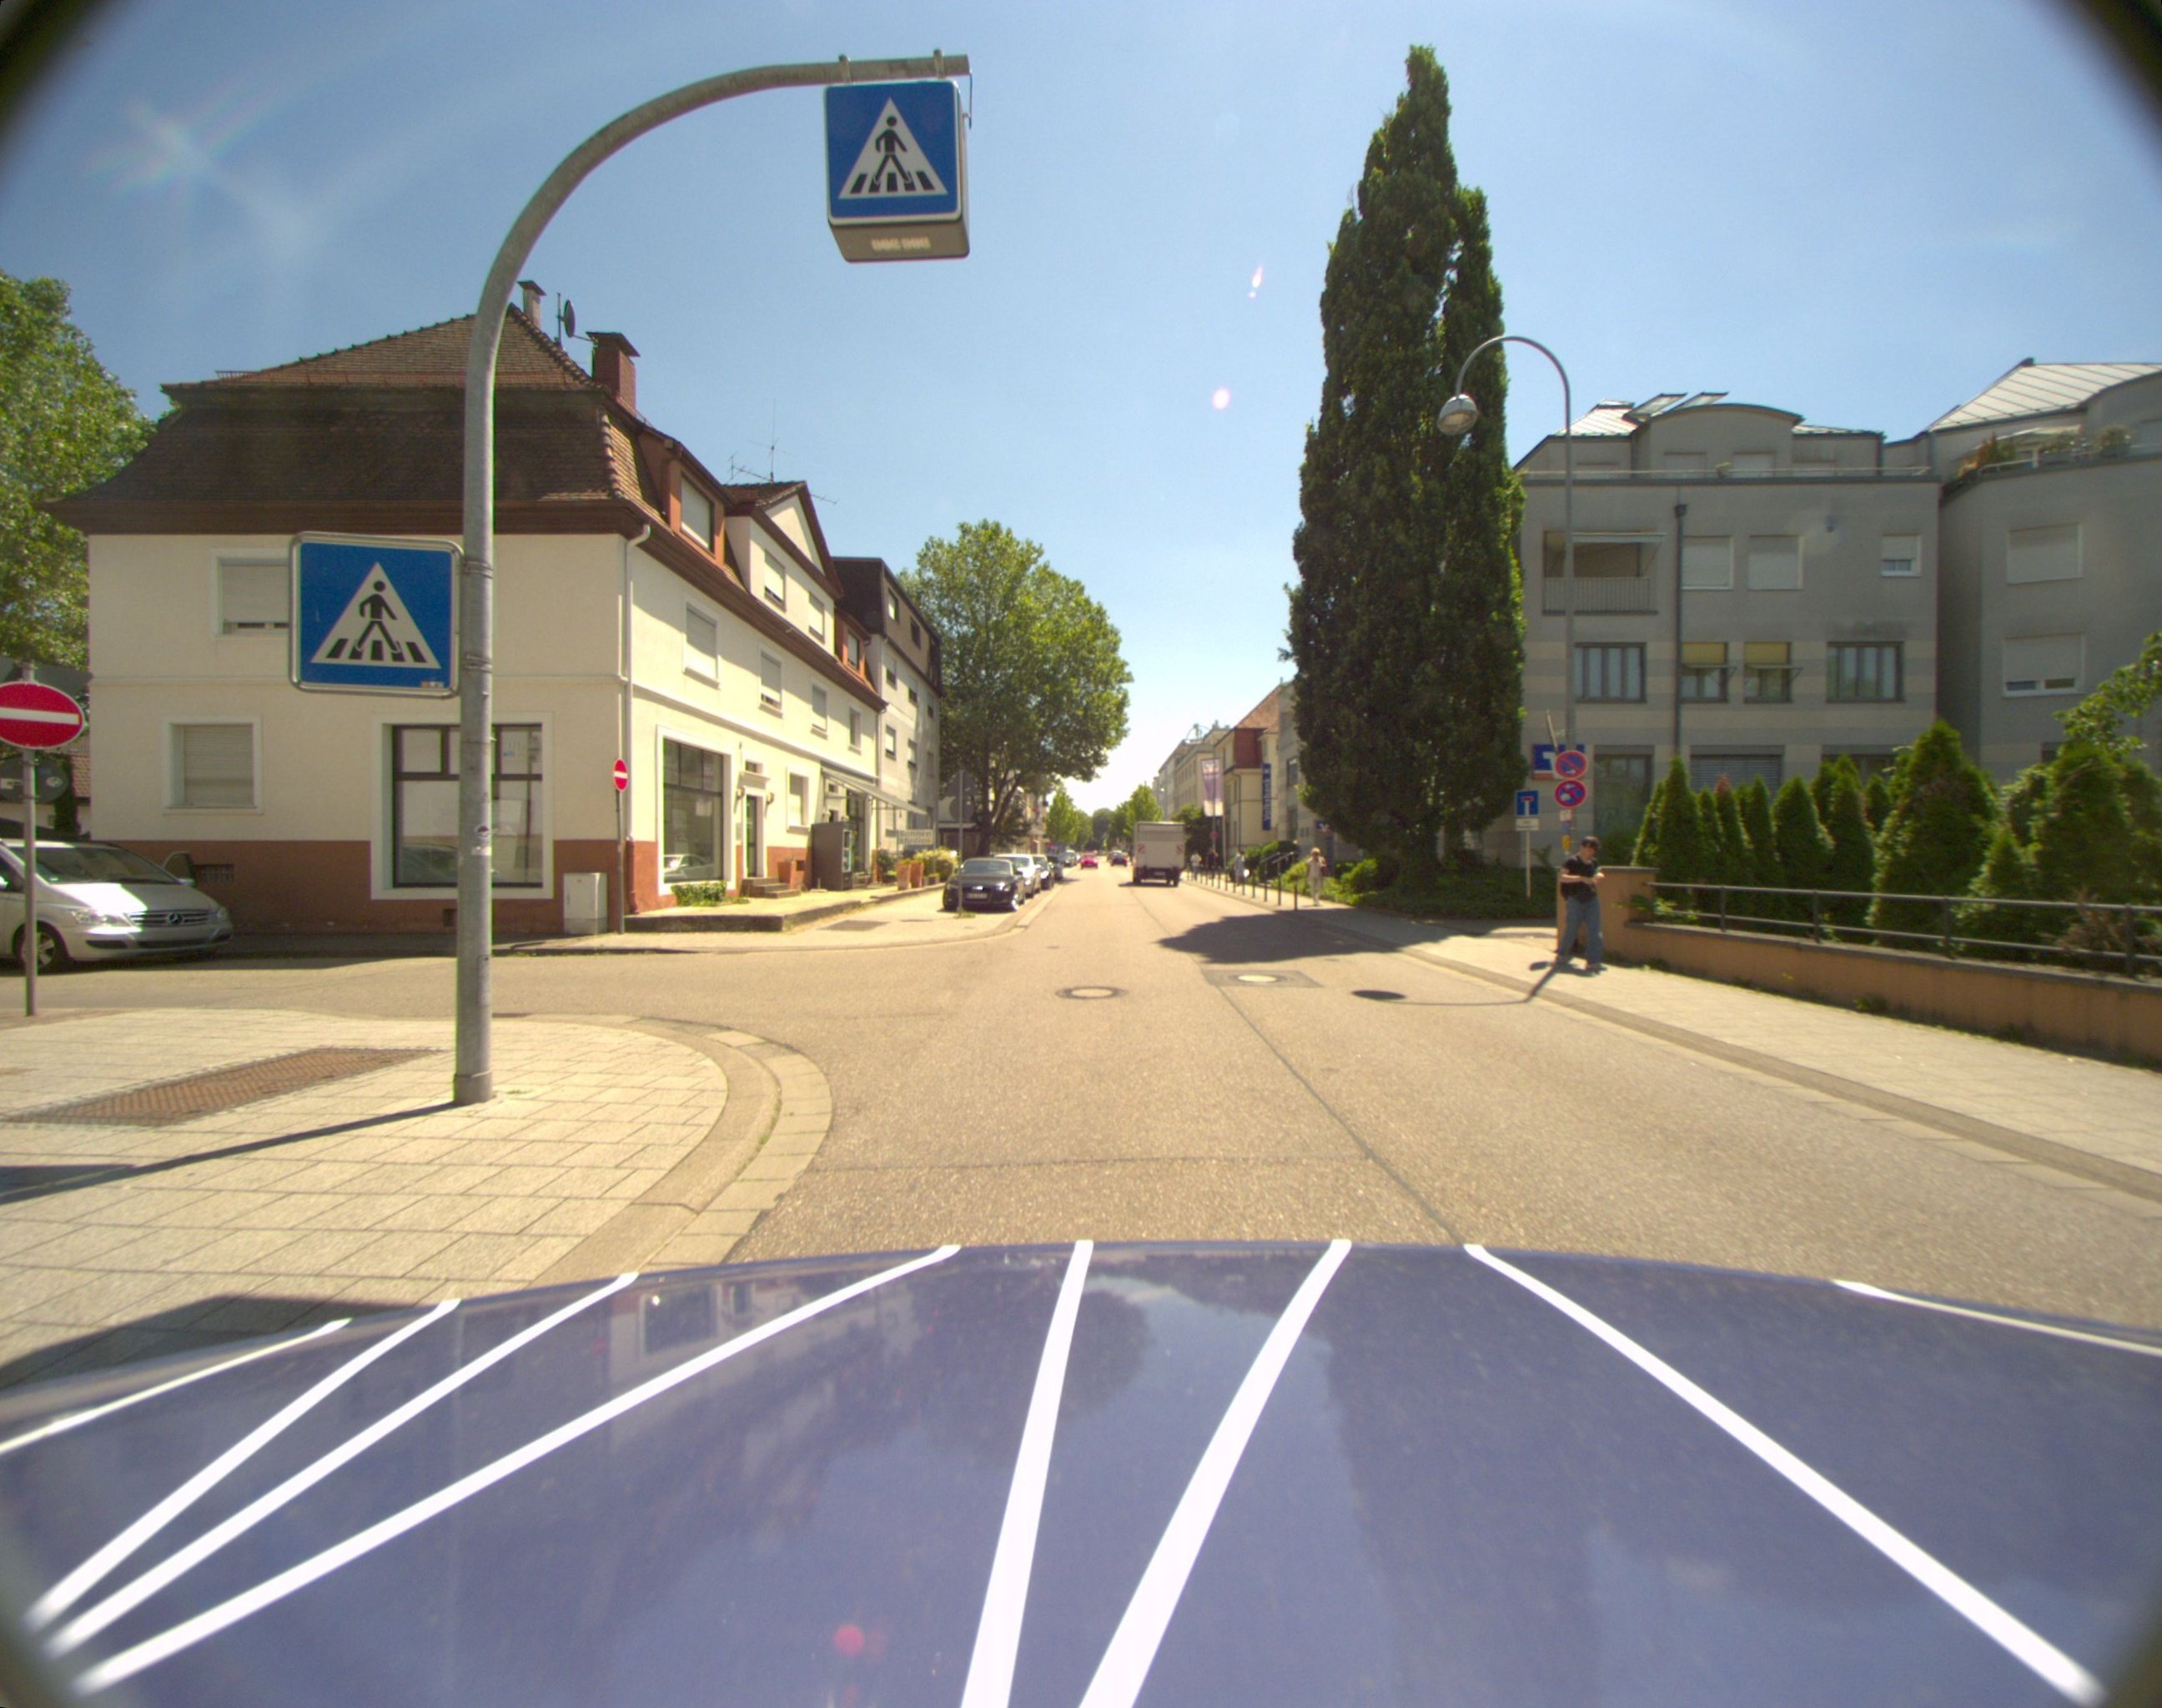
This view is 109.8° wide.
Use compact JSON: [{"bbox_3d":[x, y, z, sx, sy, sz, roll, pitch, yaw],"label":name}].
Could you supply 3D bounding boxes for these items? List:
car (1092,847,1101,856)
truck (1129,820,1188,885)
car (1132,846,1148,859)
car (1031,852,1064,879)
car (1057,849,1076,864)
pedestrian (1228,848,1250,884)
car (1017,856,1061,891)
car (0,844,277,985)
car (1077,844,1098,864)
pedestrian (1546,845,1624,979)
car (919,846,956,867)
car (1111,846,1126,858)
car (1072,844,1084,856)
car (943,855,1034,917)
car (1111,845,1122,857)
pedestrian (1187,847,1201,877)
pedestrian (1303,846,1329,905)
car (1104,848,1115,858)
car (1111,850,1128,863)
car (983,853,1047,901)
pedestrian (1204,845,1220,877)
[{"bbox_3d":[3.050,-0.463,146.028,1.698,1.594,3.812,0,1,0],"label":"car"},{"bbox_3d":[3.775,-0.111,38.063,2.426,2.966,6.257,1,1,1],"label":"truck"},{"bbox_3d":[7.651,-0.190,98.136,1.731,1.661,4.293,-1,1,1],"label":"car"},{"bbox_3d":[-1.953,0.631,44.772,1.834,1.502,4.758,0,0,-1],"label":"car"},{"bbox_3d":[-1.530,0.226,79.529,1.818,1.379,4.114,2,1,1],"label":"car"},{"bbox_3d":[7.312,0.550,35.189,0.847,1.635,0.751,-3,2,3],"label":"pedestrian"},{"bbox_3d":[-1.757,0.785,32.838,1.561,1.333,4.173,1,1,1],"label":"car"},{"bbox_3d":[-15.167,0.831,11.230,4.805,1.865,1.929,0,-1,5],"label":"car"},{"bbox_3d":[0.646,-0.048,74.821,2.000,1.880,4.293,-2,1,1],"label":"car"},{"bbox_3d":[6.501,0.719,9.833,0.538,1.675,0.708,-1,1,1],"label":"pedestrian"},{"bbox_3d":[-10.756,0.185,56.866,1.740,1.491,3.454,-1,1,-30],"label":"car"},{"bbox_3d":[4.888,-0.248,99.451,1.834,1.502,4.031,0,1,1],"label":"car"},{"bbox_3d":[-0.402,-0.610,115.449,1.731,1.861,4.114,0,1,1],"label":"car"},{"bbox_3d":[-2.452,0.803,21.253,1.831,1.418,4.700,2,1,1],"label":"car"},{"bbox_3d":[6.485,-0.572,138.845,1.731,2.154,4.293,1,1,1],"label":"car"},{"bbox_3d":[6.503,0.439,43.705,0.622,1.667,0.903,-3,1,0],"label":"pedestrian"},{"bbox_3d":[6.826,0.612,22.044,0.538,1.675,0.708,-1,1,1],"label":"pedestrian"},{"bbox_3d":[4.794,-0.181,127.845,1.731,1.500,4.293,-5,1,1],"label":"car"},{"bbox_3d":[4.491,0.300,88.852,1.834,1.502,4.262,1,0,1],"label":"car"},{"bbox_3d":[-2.258,0.736,27.197,1.748,1.460,4.851,2,1,1],"label":"car"},{"bbox_3d":[7.529,0.391,43.638,0.750,1.760,0.951,-1,1,0],"label":"pedestrian"}]
